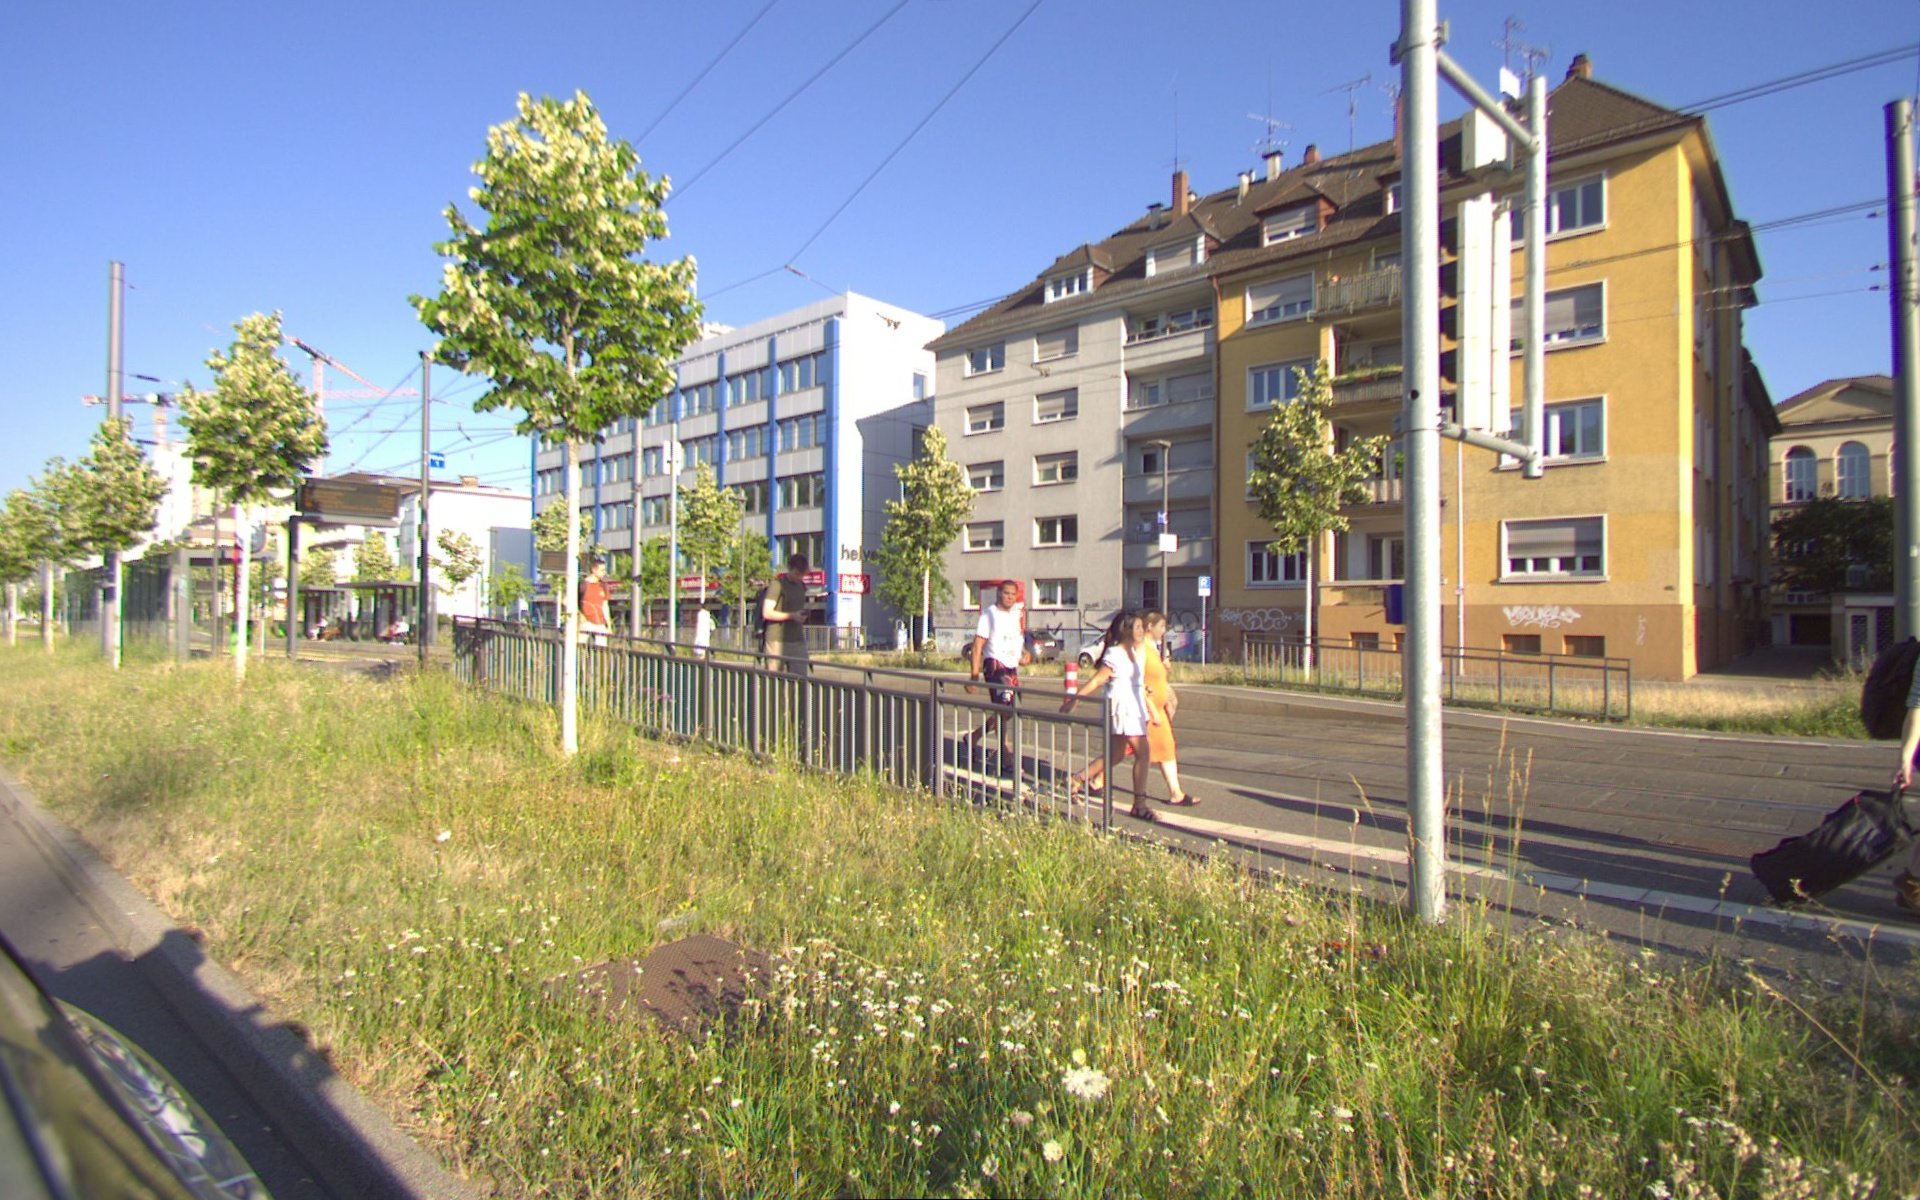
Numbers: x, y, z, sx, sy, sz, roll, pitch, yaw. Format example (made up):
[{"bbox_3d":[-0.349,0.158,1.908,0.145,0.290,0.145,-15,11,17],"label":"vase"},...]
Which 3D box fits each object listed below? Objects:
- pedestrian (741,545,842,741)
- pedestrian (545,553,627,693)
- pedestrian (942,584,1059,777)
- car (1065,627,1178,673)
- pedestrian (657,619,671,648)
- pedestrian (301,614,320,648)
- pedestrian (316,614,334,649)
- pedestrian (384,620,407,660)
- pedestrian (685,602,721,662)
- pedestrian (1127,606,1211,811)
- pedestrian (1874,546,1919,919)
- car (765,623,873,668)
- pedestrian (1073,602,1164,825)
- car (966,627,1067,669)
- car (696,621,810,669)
[{"bbox_3d":[-1.693,0.407,10.190,0.620,1.878,0.776,-1,0,44],"label":"pedestrian"},{"bbox_3d":[-4.753,0.284,12.867,0.620,1.711,0.776,-1,0,44],"label":"pedestrian"},{"bbox_3d":[0.351,0.650,8.743,0.620,1.560,0.777,3,3,43],"label":"pedestrian"},{"bbox_3d":[5.935,1.817,37.363,3.672,1.519,1.861,-1,0,41],"label":"car"},{"bbox_3d":[-18.458,2.084,63.029,0.636,1.759,0.599,-1,0,-42],"label":"pedestrian"},{"bbox_3d":[-33.615,1.583,52.383,0.772,1.705,0.651,-1,0,44],"label":"pedestrian"},{"bbox_3d":[-31.900,1.561,50.843,0.650,1.705,0.773,-1,0,-43],"label":"pedestrian"},{"bbox_3d":[-24.597,1.742,44.098,0.771,1.705,0.651,-1,0,39],"label":"pedestrian"},{"bbox_3d":[-7.364,0.911,29.004,0.620,1.685,0.776,-1,0,44],"label":"pedestrian"},{"bbox_3d":[1.569,0.775,7.562,0.521,1.442,0.634,-1,0,19],"label":"pedestrian"},{"bbox_3d":[4.662,0.582,4.651,0.619,1.653,0.778,-1,-1,39],"label":"pedestrian"},{"bbox_3d":[-5.278,1.648,37.677,3.941,1.519,1.861,-1,0,41],"label":"car"},{"bbox_3d":[1.115,0.752,7.052,0.520,1.467,0.634,-1,0,18],"label":"pedestrian"},{"bbox_3d":[2.218,1.865,40.497,3.672,1.519,1.861,-1,0,41],"label":"car"},{"bbox_3d":[-7.227,1.523,35.143,3.941,1.519,1.861,-1,0,41],"label":"car"}]
